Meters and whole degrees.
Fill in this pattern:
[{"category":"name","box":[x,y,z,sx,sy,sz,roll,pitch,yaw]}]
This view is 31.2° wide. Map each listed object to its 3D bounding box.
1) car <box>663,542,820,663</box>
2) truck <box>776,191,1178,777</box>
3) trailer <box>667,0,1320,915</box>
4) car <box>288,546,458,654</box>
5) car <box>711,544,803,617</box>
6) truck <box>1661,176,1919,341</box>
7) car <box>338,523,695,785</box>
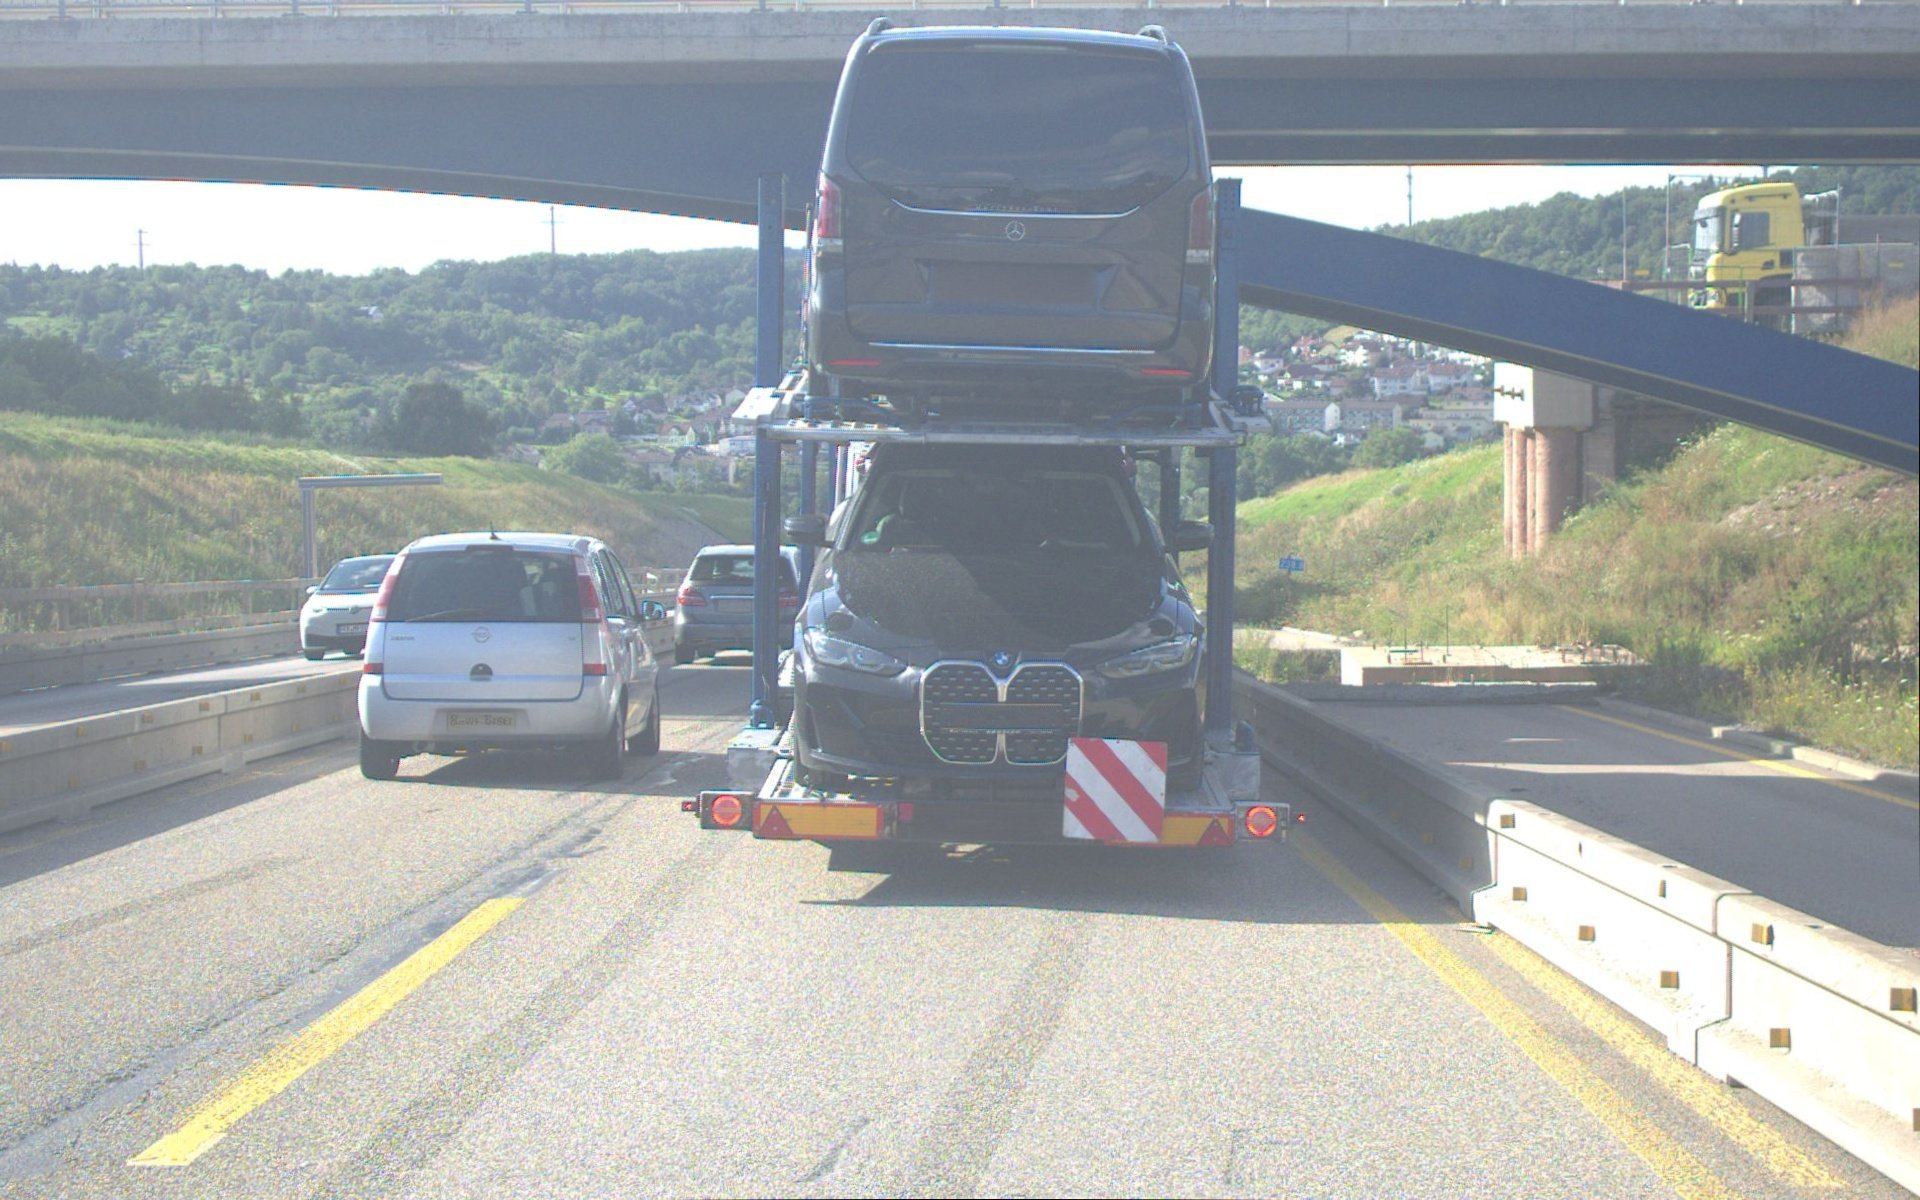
[{"category":"car","box":[-2.864,0.002,45.854,1.796,1.525,4.295,0,1,0]},{"category":"truck","box":[0.154,-0.815,25.987,2.678,3.908,6.027,0,1,1]},{"category":"trailer","box":[0.140,-0.775,20.003,2.708,4.015,11.420,0,1,0]},{"category":"car","box":[-8.998,-0.033,53.015,1.823,1.487,4.218,-3,1,0]},{"category":"car","box":[-4.717,-0.478,80.379,1.823,1.558,4.218,-3,1,0]},{"category":"truck","box":[19.613,-7.117,72.041,9.263,3.217,2.960,0,1,1]},{"category":"car","box":[-2.915,0.282,23.565,1.796,1.591,4.743,-1,1,0]}]
